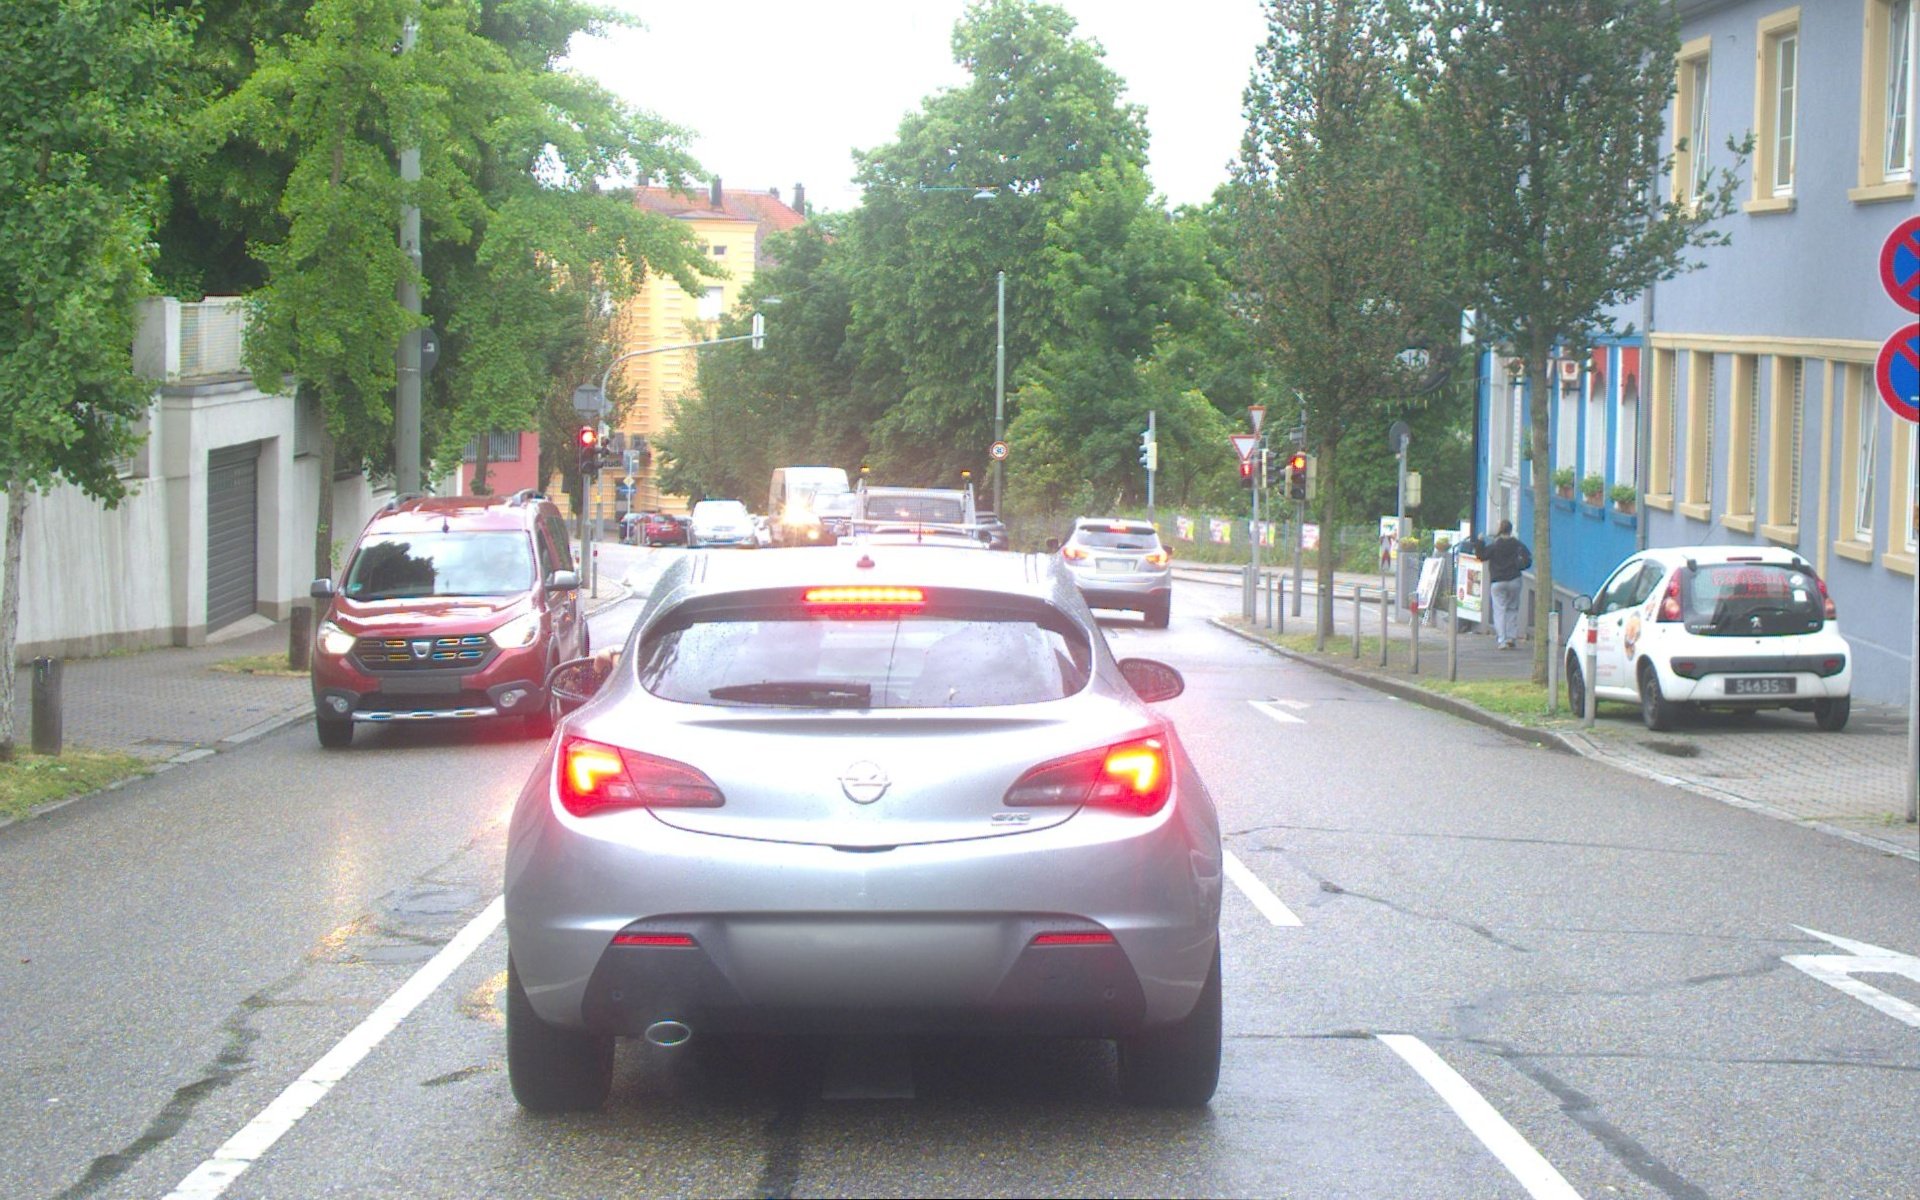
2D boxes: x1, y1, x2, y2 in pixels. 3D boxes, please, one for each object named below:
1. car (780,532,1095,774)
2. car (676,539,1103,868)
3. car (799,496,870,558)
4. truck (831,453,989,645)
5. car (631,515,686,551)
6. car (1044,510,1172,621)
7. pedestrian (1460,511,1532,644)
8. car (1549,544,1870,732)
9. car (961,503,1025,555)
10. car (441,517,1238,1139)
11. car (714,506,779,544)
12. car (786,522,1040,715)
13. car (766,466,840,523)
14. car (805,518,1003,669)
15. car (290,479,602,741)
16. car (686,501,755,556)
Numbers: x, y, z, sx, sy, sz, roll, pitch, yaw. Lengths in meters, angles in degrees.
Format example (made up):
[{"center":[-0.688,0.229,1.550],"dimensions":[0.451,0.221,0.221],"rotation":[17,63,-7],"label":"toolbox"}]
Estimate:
[{"center":[-0.207,0.298,24.061],"dimensions":[1.962,1.443,4.306],"rotation":[2,1,-2],"label":"car"},{"center":[-0.395,0.450,18.341],"dimensions":[1.962,1.443,4.306],"rotation":[2,1,-2],"label":"car"},{"center":[-3.362,-1.979,92.600],"dimensions":[1.870,1.632,3.880],"rotation":[0,1,-2],"label":"car"},{"center":[-0.720,-0.730,47.091],"dimensions":[1.962,2.420,4.936],"rotation":[2,1,-2],"label":"truck"},{"center":[-13.878,-3.075,158.099],"dimensions":[1.722,1.632,3.881],"rotation":[0,1,-18],"label":"car"},{"center":[2.336,-0.573,55.125],"dimensions":[1.722,1.708,3.880],"rotation":[0,1,-2],"label":"car"},{"center":[7.120,-0.304,45.687],"dimensions":[0.783,1.723,0.651],"rotation":[2,1,0],"label":"pedestrian"},{"center":[6.164,0.263,28.699],"dimensions":[1.722,1.443,3.880],"rotation":[0,1,-2],"label":"car"},{"center":[1.037,-2.253,108.891],"dimensions":[1.722,1.632,3.880],"rotation":[0,1,-4],"label":"car"},{"center":[-0.360,0.494,9.965],"dimensions":[1.837,1.429,3.880],"rotation":[1,1,-2],"label":"car"},{"center":[-8.674,-3.038,139.329],"dimensions":[1.722,1.538,3.881],"rotation":[0,1,-18],"label":"car"},{"center":[-0.437,0.100,29.439],"dimensions":[1.962,1.443,4.306],"rotation":[2,1,-2],"label":"car"},{"center":[-4.597,-3.066,100.220],"dimensions":[1.722,1.632,3.881],"rotation":[0,1,-9],"label":"car"},{"center":[-0.632,-0.117,37.099],"dimensions":[1.962,1.443,4.306],"rotation":[2,1,-2],"label":"car"},{"center":[-3.839,0.037,26.367],"dimensions":[1.746,1.822,4.459],"rotation":[-1,1,-1],"label":"car"},{"center":[-6.473,-1.932,93.149],"dimensions":[1.722,1.455,3.880],"rotation":[0,1,-2],"label":"car"}]
